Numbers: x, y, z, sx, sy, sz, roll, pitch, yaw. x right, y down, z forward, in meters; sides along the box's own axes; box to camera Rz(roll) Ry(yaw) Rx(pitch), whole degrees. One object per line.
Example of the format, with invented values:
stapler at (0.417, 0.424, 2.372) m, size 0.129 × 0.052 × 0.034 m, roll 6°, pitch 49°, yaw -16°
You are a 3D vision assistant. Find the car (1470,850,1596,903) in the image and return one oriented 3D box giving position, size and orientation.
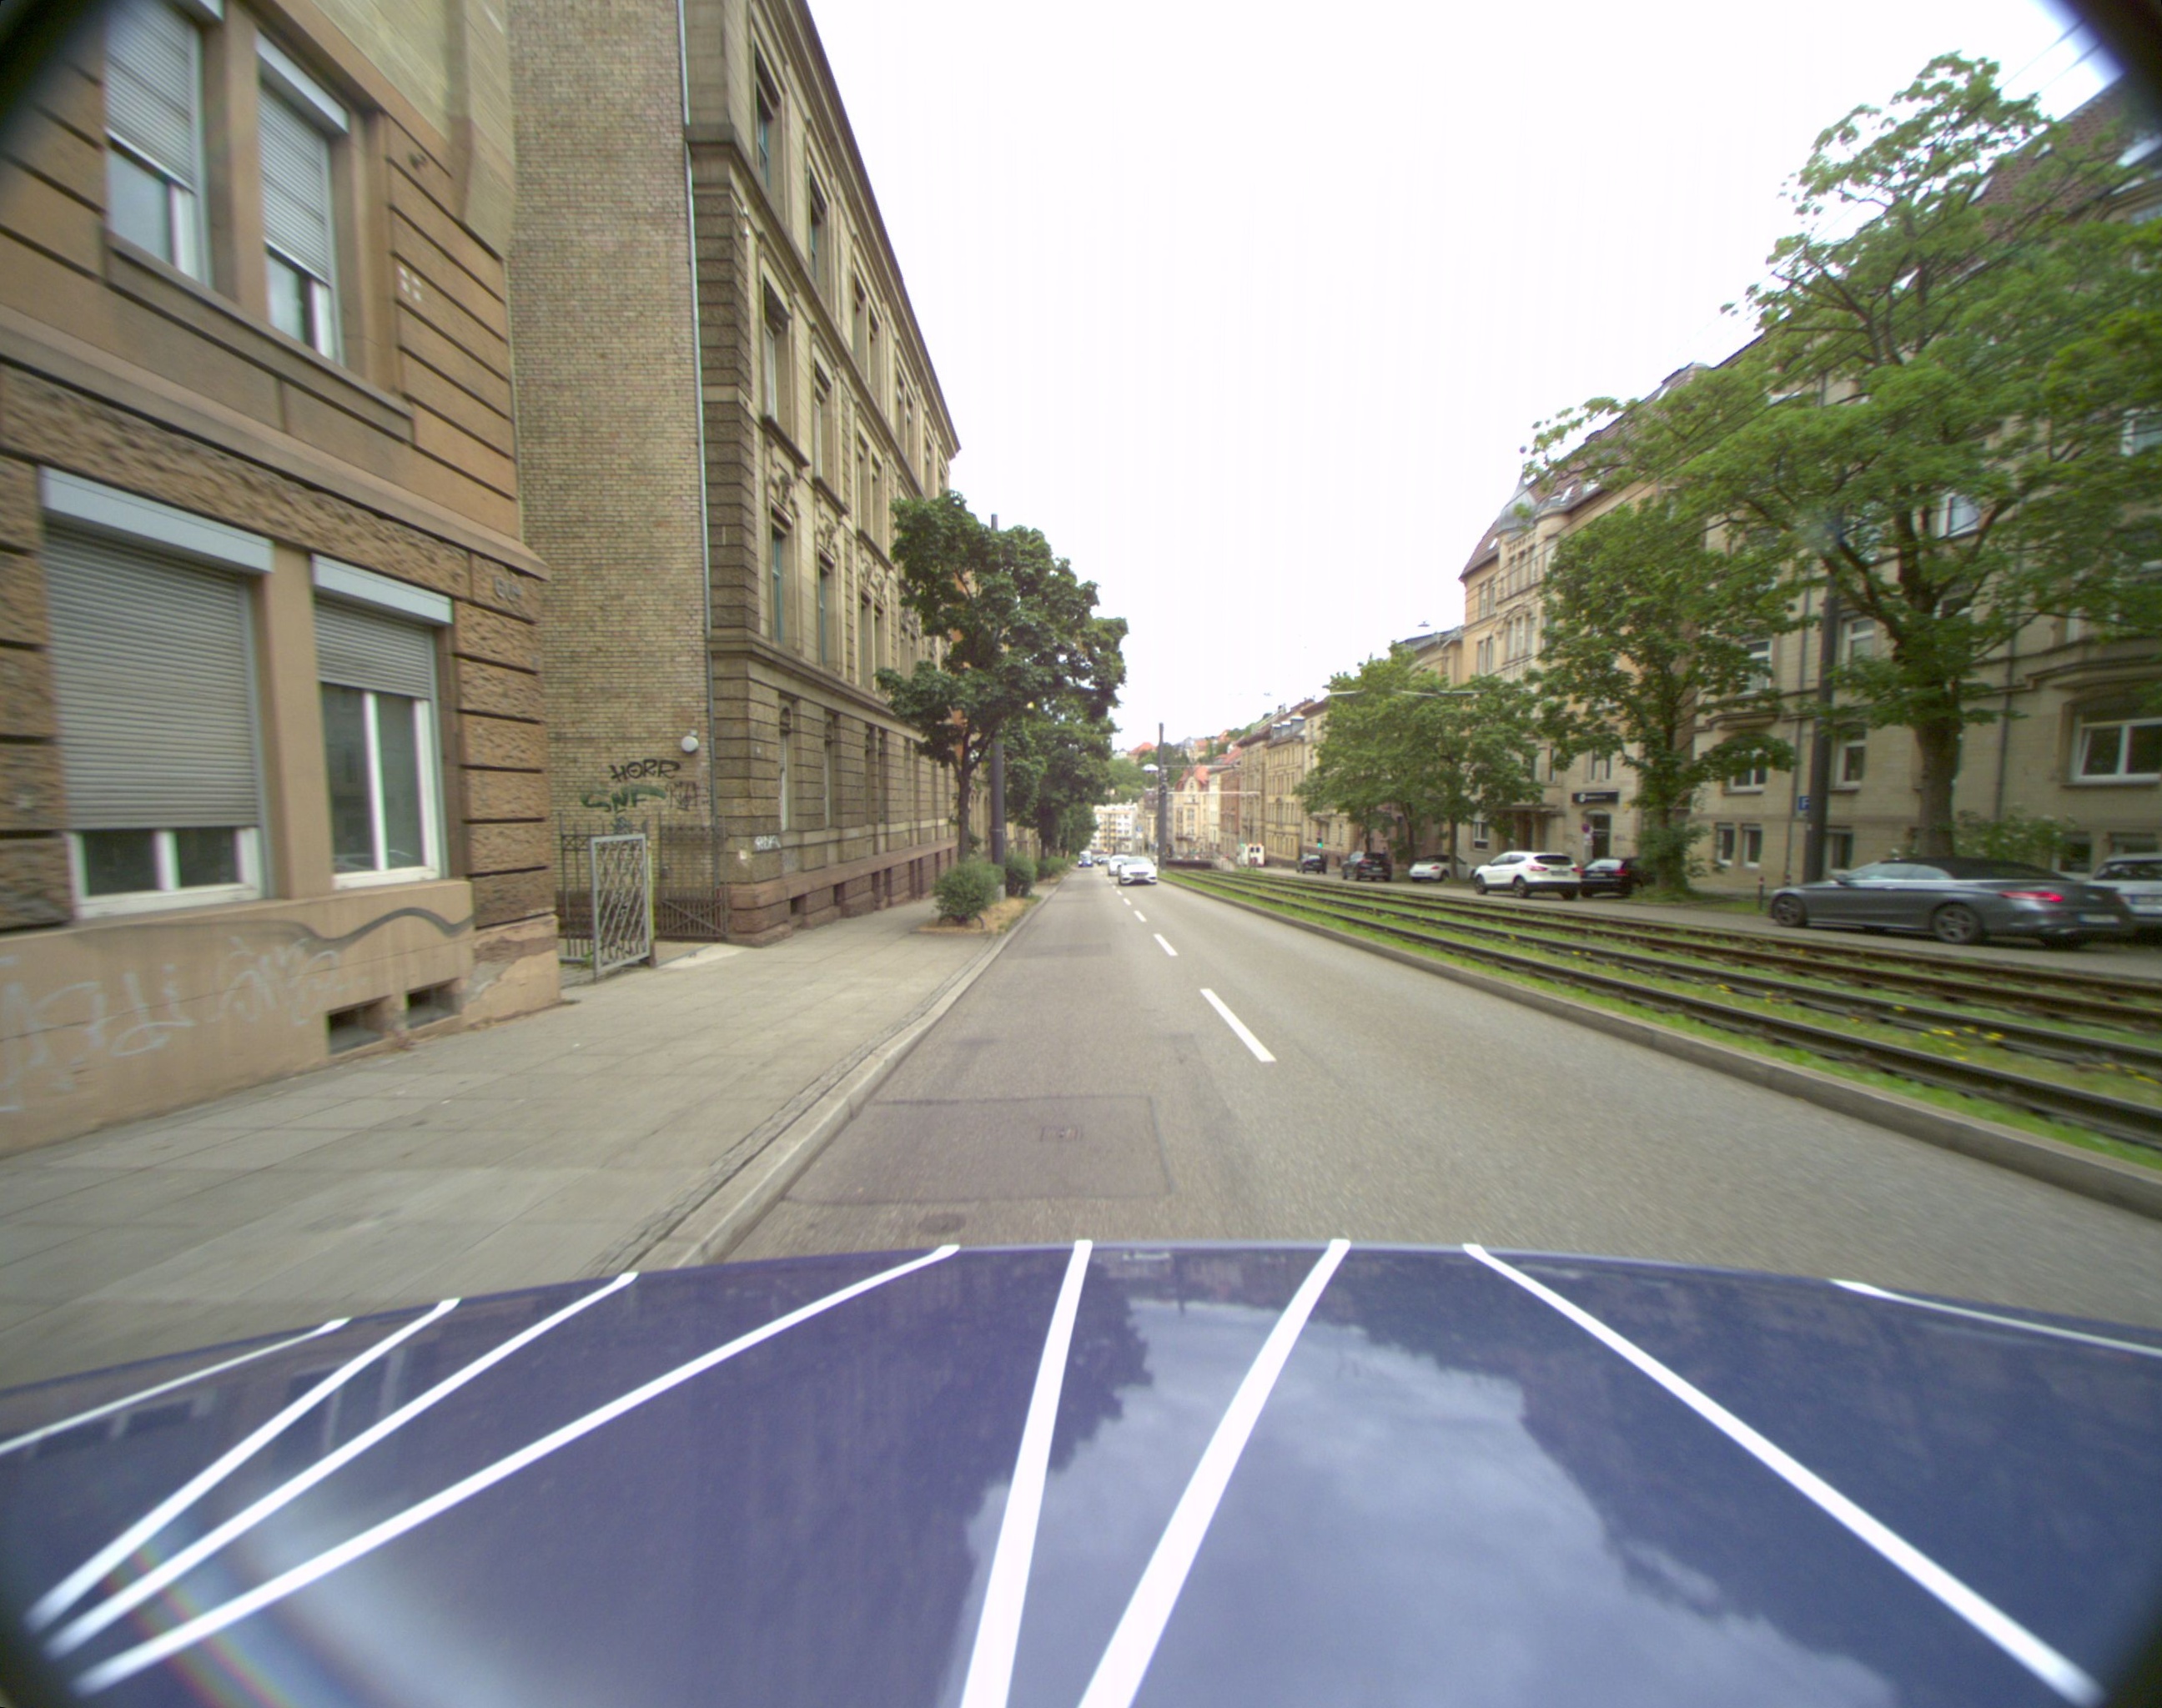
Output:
car at (15.365, 0.694, 26.137) m, size 1.784 × 1.607 × 4.345 m, roll 1°, pitch 1°, yaw 1°

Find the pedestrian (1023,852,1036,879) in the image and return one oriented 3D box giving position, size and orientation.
pedestrian at (-3.197, 0.715, 47.186) m, size 0.687 × 1.566 × 1.216 m, roll 1°, pitch 3°, yaw 1°

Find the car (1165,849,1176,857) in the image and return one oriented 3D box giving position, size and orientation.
car at (17.669, -0.208, 150.232) m, size 1.713 × 1.725 × 4.576 m, roll 0°, pitch 0°, yaw 1°

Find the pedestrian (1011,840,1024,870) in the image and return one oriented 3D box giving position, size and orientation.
pedestrian at (-3.957, 0.035, 47.151) m, size 0.687 × 1.820 × 1.121 m, roll 1°, pitch 3°, yaw 1°

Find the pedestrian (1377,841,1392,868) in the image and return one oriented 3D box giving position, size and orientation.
pedestrian at (22.329, 0.047, 55.926) m, size 0.722 × 2.002 × 0.797 m, roll 0°, pitch 0°, yaw -1°

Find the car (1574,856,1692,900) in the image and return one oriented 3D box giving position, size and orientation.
car at (19.138, 0.788, 26.303) m, size 4.190 × 1.356 × 1.708 m, roll -1°, pitch 1°, yaw -29°

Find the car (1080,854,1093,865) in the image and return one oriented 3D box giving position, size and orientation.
car at (0.683, 0.685, 99.405) m, size 1.694 × 1.466 × 3.857 m, roll 0°, pitch 0°, yaw 1°

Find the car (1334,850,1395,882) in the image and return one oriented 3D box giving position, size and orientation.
car at (15.584, 0.611, 42.036) m, size 1.784 × 1.647 × 4.243 m, roll 1°, pitch 1°, yaw 1°

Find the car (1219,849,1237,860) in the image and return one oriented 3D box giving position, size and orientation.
car at (20.537, 0.027, 106.282) m, size 1.752 × 1.420 × 4.749 m, roll 1°, pitch 0°, yaw 2°

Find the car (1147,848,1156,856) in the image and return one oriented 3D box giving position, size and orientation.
car at (20.124, -0.554, 217.535) m, size 1.998 × 2.291 × 5.455 m, roll 0°, pitch 0°, yaw 1°

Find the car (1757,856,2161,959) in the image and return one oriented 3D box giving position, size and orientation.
car at (14.630, 0.776, 13.180) m, size 1.729 × 1.402 × 4.597 m, roll 1°, pitch 0°, yaw 1°

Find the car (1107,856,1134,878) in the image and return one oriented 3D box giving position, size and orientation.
car at (2.932, 0.974, 56.688) m, size 1.806 × 1.542 × 4.000 m, roll -1°, pitch 0°, yaw 0°

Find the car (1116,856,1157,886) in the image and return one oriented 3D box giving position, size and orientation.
car at (2.774, 0.828, 38.677) m, size 1.806 × 1.391 × 4.000 m, roll -1°, pitch 0°, yaw 0°

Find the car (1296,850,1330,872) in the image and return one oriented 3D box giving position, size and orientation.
car at (18.240, 0.525, 59.872) m, size 1.883 × 1.640 × 4.473 m, roll 1°, pitch 0°, yaw 9°

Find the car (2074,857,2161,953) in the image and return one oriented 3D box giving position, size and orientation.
car at (18.464, 0.842, 12.714) m, size 4.162 × 1.461 × 1.781 m, roll 1°, pitch 1°, yaw -31°

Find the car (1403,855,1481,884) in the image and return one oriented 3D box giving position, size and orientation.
car at (19.061, 0.781, 40.046) m, size 4.006 × 1.414 × 1.781 m, roll -1°, pitch 1°, yaw -31°

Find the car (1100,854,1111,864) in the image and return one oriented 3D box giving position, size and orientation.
car at (3.575, 0.731, 110.962) m, size 1.562 × 1.330 × 4.000 m, roll 0°, pitch 0°, yaw 1°

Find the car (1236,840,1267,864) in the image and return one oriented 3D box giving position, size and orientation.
car at (20.289, -0.205, 90.659) m, size 2.398 × 2.684 × 6.519 m, roll 1°, pitch 1°, yaw 2°

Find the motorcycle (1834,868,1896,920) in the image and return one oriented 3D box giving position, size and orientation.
motorcycle at (18.479, 0.916, 17.891) m, size 2.209 × 1.052 × 0.623 m, roll -2°, pitch 2°, yaw -34°

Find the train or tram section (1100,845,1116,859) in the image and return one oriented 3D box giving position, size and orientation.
train or tram section at (6.617, -0.393, 188.253) m, size 2.968 × 3.456 × 14.407 m, roll 0°, pitch 0°, yaw -1°

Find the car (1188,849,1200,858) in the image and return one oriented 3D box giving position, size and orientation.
car at (17.216, -0.136, 115.897) m, size 1.580 × 1.369 × 3.656 m, roll 0°, pitch 0°, yaw 4°
